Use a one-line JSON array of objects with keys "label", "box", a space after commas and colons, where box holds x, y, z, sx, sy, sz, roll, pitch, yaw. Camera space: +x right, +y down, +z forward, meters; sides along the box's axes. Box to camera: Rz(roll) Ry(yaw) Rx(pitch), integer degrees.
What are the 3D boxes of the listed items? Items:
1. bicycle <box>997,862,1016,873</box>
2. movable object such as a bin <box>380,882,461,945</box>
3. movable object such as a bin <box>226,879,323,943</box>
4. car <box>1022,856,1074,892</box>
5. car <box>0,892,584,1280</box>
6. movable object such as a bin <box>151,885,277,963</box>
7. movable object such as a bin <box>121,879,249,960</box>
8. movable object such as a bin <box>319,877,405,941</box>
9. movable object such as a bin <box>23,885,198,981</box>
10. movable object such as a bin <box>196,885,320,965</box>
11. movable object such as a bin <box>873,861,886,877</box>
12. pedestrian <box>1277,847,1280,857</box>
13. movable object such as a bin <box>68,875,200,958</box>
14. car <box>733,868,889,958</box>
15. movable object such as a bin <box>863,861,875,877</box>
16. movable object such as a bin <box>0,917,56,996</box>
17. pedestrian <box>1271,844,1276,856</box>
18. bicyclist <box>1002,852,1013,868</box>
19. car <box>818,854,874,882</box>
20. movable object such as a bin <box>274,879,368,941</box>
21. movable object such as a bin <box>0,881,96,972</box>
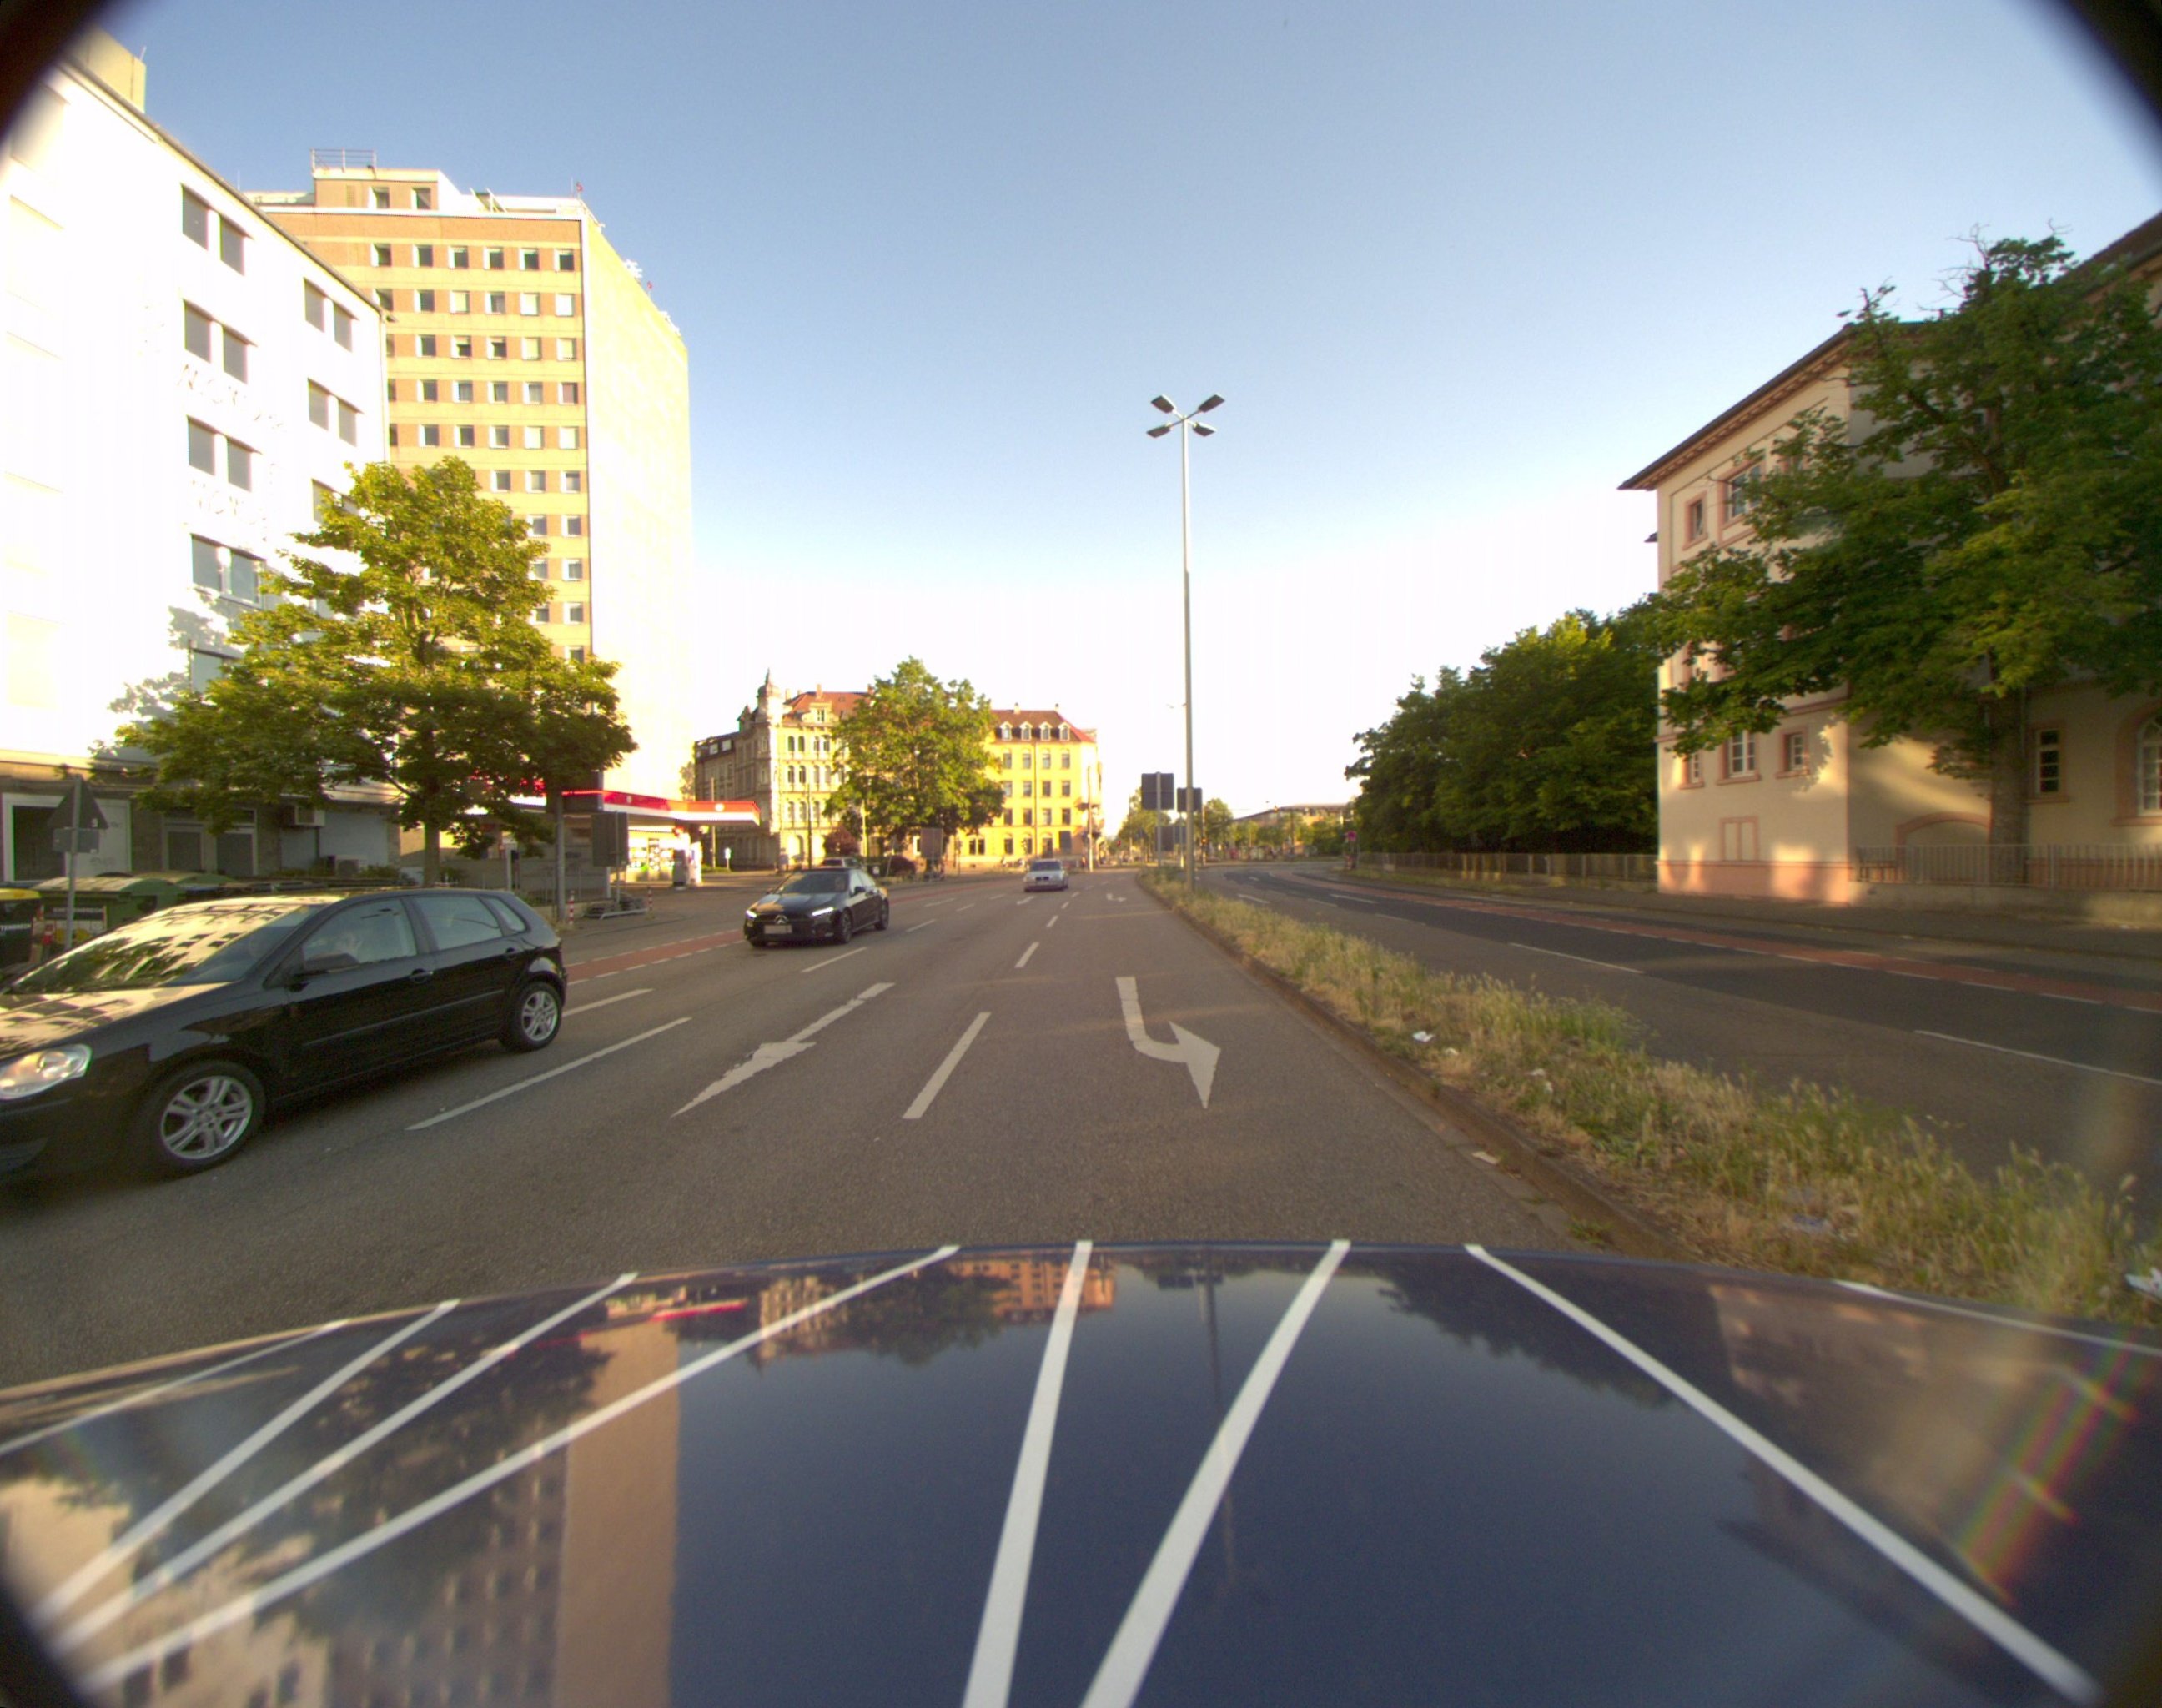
[{"label": "bicycle", "box": [-7.636, 1.352, 77.879, 1.927, 1.053, 0.451, -1, 1, -7]}, {"label": "movable object such as a bin", "box": [-14.878, 1.327, 17.142, 0.956, 1.320, 0.953, -1, 1, -2]}, {"label": "movable object such as a bin", "box": [-17.929, 1.245, 16.921, 0.956, 1.320, 1.098, -1, 1, -2]}, {"label": "car", "box": [-1.425, 0.857, 34.378, 1.674, 1.410, 4.442, -2, 0, 6]}, {"label": "car", "box": [-5.370, 1.103, 4.984, 1.584, 1.441, 3.872, -2, 0, 1]}, {"label": "movable object such as a bin", "box": [-16.038, 1.269, 14.099, 0.956, 1.320, 1.162, -1, 1, -2]}, {"label": "movable object such as a bin", "box": [-17.122, 1.223, 14.568, 1.034, 1.440, 1.162, -1, 1, -2]}, {"label": "movable object such as a bin", "box": [-15.843, 1.194, 16.773, 0.956, 1.320, 0.953, -1, 1, -2]}, {"label": "movable object such as a bin", "box": [-15.849, 1.262, 12.461, 1.351, 1.415, 1.105, -1, 1, -4]}, {"label": "movable object such as a bin", "box": [-14.943, 1.266, 13.839, 0.956, 1.320, 1.162, -1, 1, -2]}, {"label": "movable object such as a bin", "box": [-13.144, 0.974, 49.559, 0.544, 1.013, 0.688, -1, 1, 5]}, {"label": "pedestrian", "box": [34.482, -0.387, 132.806, 0.467, 1.695, 0.419, -1, 1, 1]}, {"label": "movable object such as a bin", "box": [-18.298, 1.186, 14.722, 1.034, 1.490, 1.162, -1, 1, -2]}, {"label": "car", "box": [-5.227, 1.065, 15.307, 1.731, 1.441, 4.045, -2, 0, -1]}, {"label": "movable object such as a bin", "box": [-13.865, 0.989, 49.769, 0.544, 1.013, 0.688, -1, 1, 5]}, {"label": "movable object such as a bin", "box": [-15.512, 1.458, 10.751, 0.853, 1.039, 0.819, -1, 1, -4]}, {"label": "pedestrian", "box": [33.696, -0.660, 133.056, 0.556, 2.002, 0.664, -1, 1, 1]}, {"label": "bicyclist", "box": [-7.567, 0.617, 77.890, 1.065, 1.639, 0.732, -1, 1, -7]}, {"label": "car", "box": [-13.951, 0.819, 45.280, 1.688, 1.508, 3.798, -1, 1, 8]}, {"label": "movable object such as a bin", "box": [-16.931, 1.232, 16.964, 0.956, 1.276, 1.098, -1, 1, -2]}, {"label": "movable object such as a bin", "box": [-18.689, 1.257, 13.410, 1.034, 1.490, 1.162, -1, 1, -2]}]
